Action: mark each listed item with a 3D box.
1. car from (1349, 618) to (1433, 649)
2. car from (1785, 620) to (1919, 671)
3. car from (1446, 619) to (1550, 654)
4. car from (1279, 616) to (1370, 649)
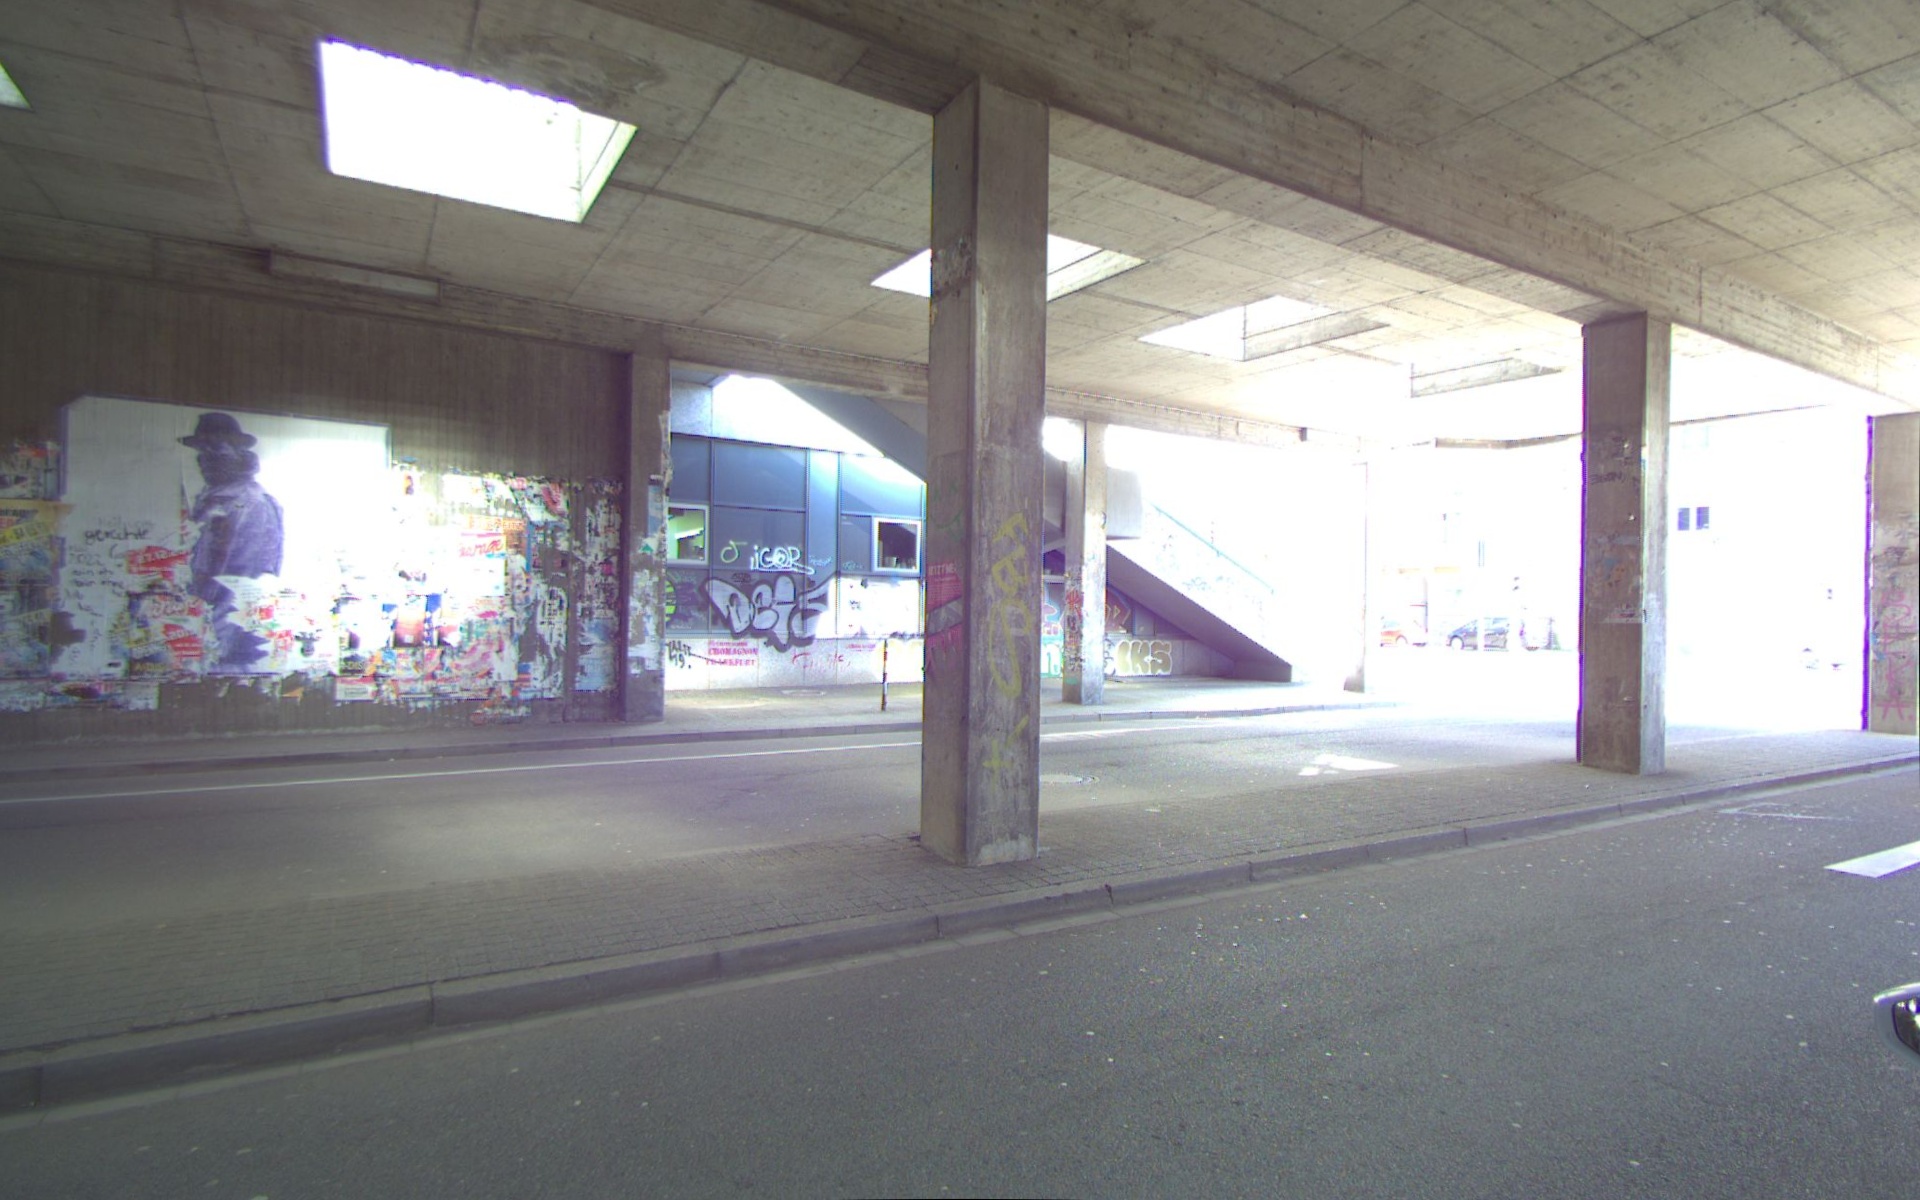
[{"bbox_3d":[22.535,1.737,52.592,1.730,1.495,3.741,2,-1,-31],"label":"car"},{"bbox_3d":[27.875,1.355,30.279,1.858,1.417,4.265,2,-1,-26],"label":"car"},{"bbox_3d":[25.447,1.718,47.637,1.718,1.495,4.089,2,-1,-31],"label":"car"},{"bbox_3d":[17.849,1.557,49.347,1.718,1.495,4.089,2,-1,-31],"label":"car"}]
